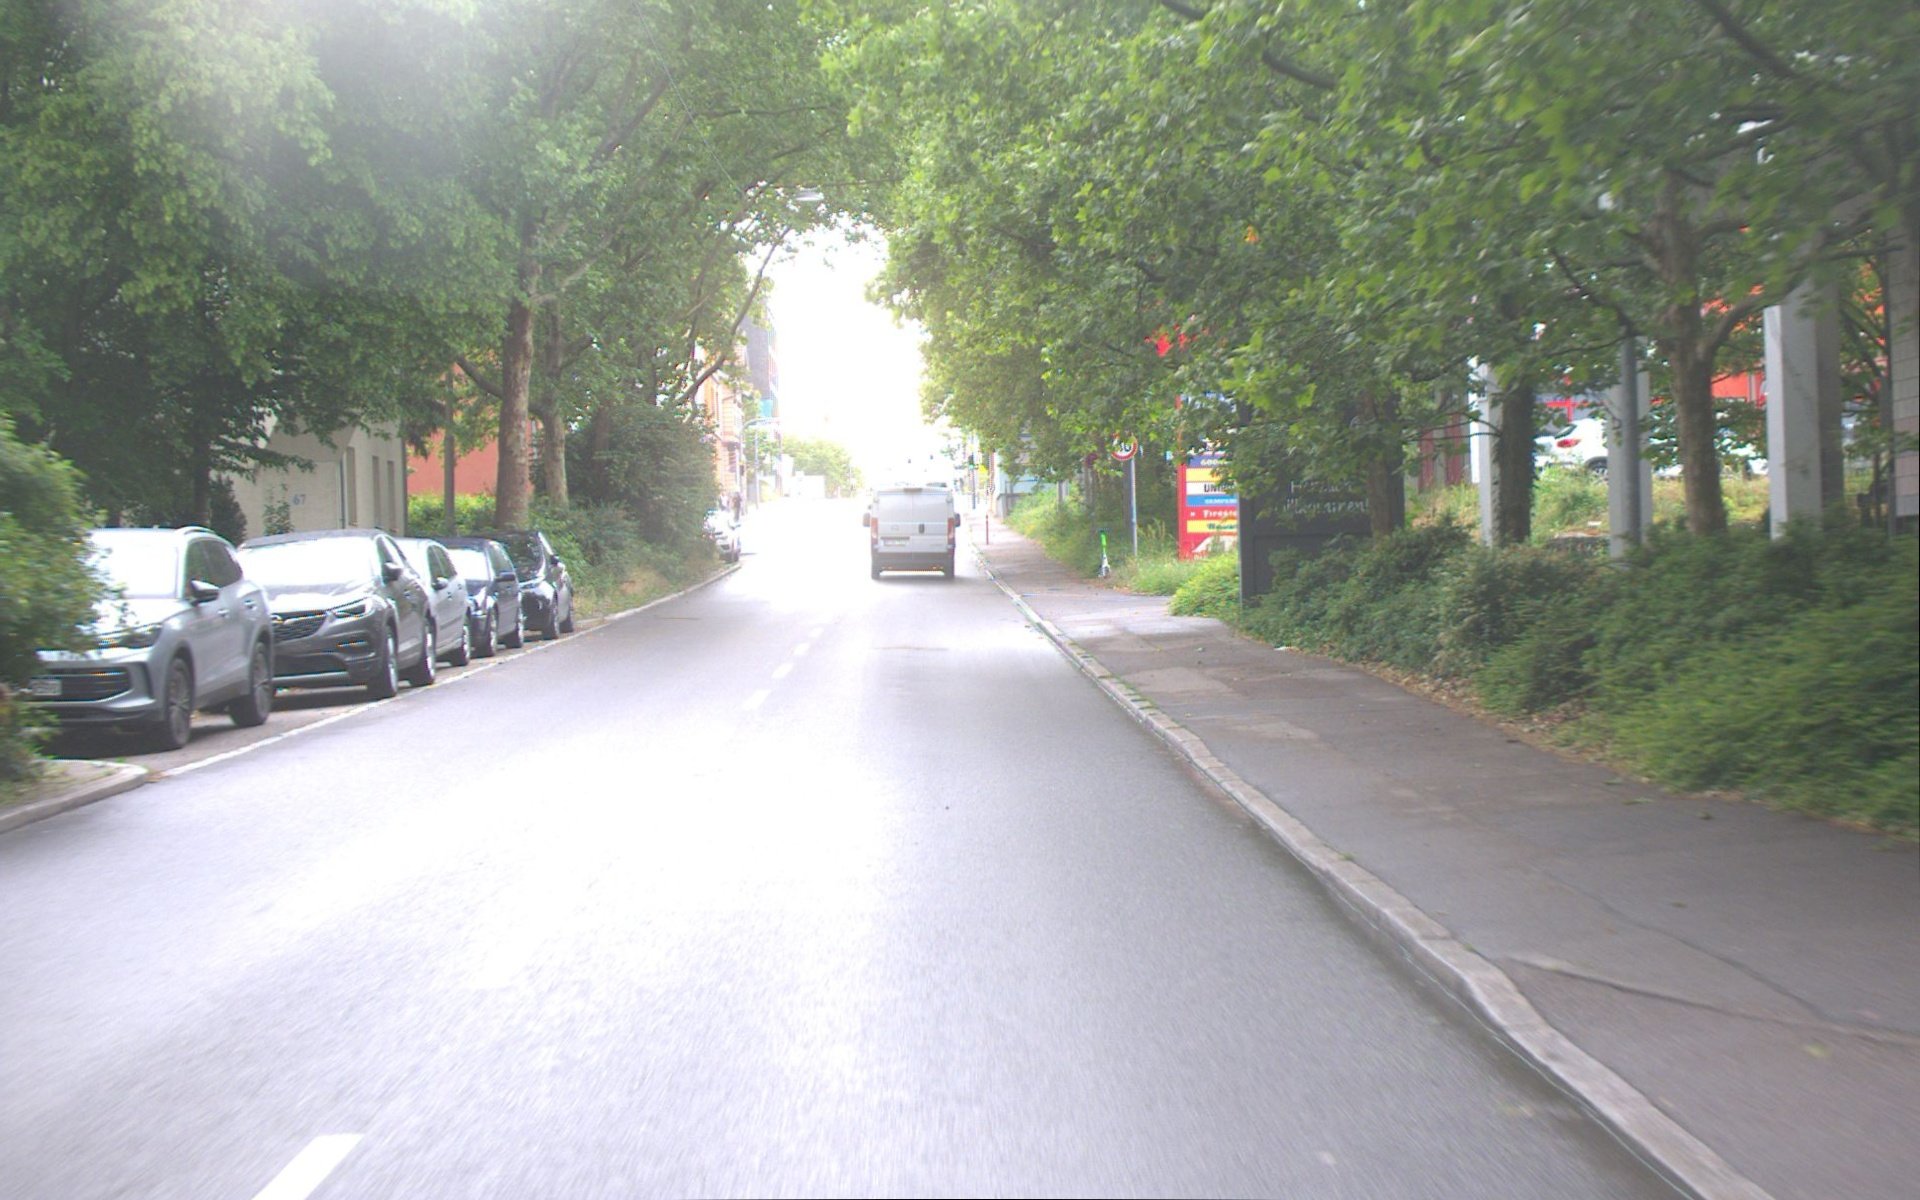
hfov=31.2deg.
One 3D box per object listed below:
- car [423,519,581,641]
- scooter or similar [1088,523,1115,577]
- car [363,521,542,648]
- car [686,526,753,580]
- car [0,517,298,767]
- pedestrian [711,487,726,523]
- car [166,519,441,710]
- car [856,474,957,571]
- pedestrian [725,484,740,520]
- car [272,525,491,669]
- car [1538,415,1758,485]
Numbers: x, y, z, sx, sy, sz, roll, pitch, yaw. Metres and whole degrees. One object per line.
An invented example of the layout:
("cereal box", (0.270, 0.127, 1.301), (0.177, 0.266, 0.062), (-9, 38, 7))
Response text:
("car", (-6.431, -0.318, 48.613), (1.647, 1.532, 4.019), (-5, 1, -1))
("scooter or similar", (3.044, -1.067, 73.894), (0.425, 1.138, 1.529), (1, 0, -3))
("car", (-6.297, -0.228, 43.014), (1.672, 1.503, 3.874), (0, 1, 0))
("car", (-7.194, -1.418, 103.160), (1.691, 1.537, 4.117), (-2, 1, 0))
("car", (-6.562, 0.264, 26.851), (1.734, 1.651, 4.564), (-5, 2, 1))
("pedestrian", (-13.686, -5.395, 194.722), (0.671, 2.006, 0.941), (-1, 2, 4))
("car", (-6.145, 0.079, 32.645), (1.864, 1.586, 4.240), (-3, 1, -2))
("car", (-1.274, -1.868, 83.766), (2.336, 2.223, 4.000), (-2, 0, 0))
("pedestrian", (-12.885, -5.535, 194.671), (0.671, 2.006, 0.941), (-1, 2, 4))
("car", (-6.341, -0.079, 38.048), (1.672, 1.503, 4.123), (0, 1, 1))
("car", (14.074, -3.067, 70.477), (4.100, 1.371, 1.903), (0, 1, 0))
